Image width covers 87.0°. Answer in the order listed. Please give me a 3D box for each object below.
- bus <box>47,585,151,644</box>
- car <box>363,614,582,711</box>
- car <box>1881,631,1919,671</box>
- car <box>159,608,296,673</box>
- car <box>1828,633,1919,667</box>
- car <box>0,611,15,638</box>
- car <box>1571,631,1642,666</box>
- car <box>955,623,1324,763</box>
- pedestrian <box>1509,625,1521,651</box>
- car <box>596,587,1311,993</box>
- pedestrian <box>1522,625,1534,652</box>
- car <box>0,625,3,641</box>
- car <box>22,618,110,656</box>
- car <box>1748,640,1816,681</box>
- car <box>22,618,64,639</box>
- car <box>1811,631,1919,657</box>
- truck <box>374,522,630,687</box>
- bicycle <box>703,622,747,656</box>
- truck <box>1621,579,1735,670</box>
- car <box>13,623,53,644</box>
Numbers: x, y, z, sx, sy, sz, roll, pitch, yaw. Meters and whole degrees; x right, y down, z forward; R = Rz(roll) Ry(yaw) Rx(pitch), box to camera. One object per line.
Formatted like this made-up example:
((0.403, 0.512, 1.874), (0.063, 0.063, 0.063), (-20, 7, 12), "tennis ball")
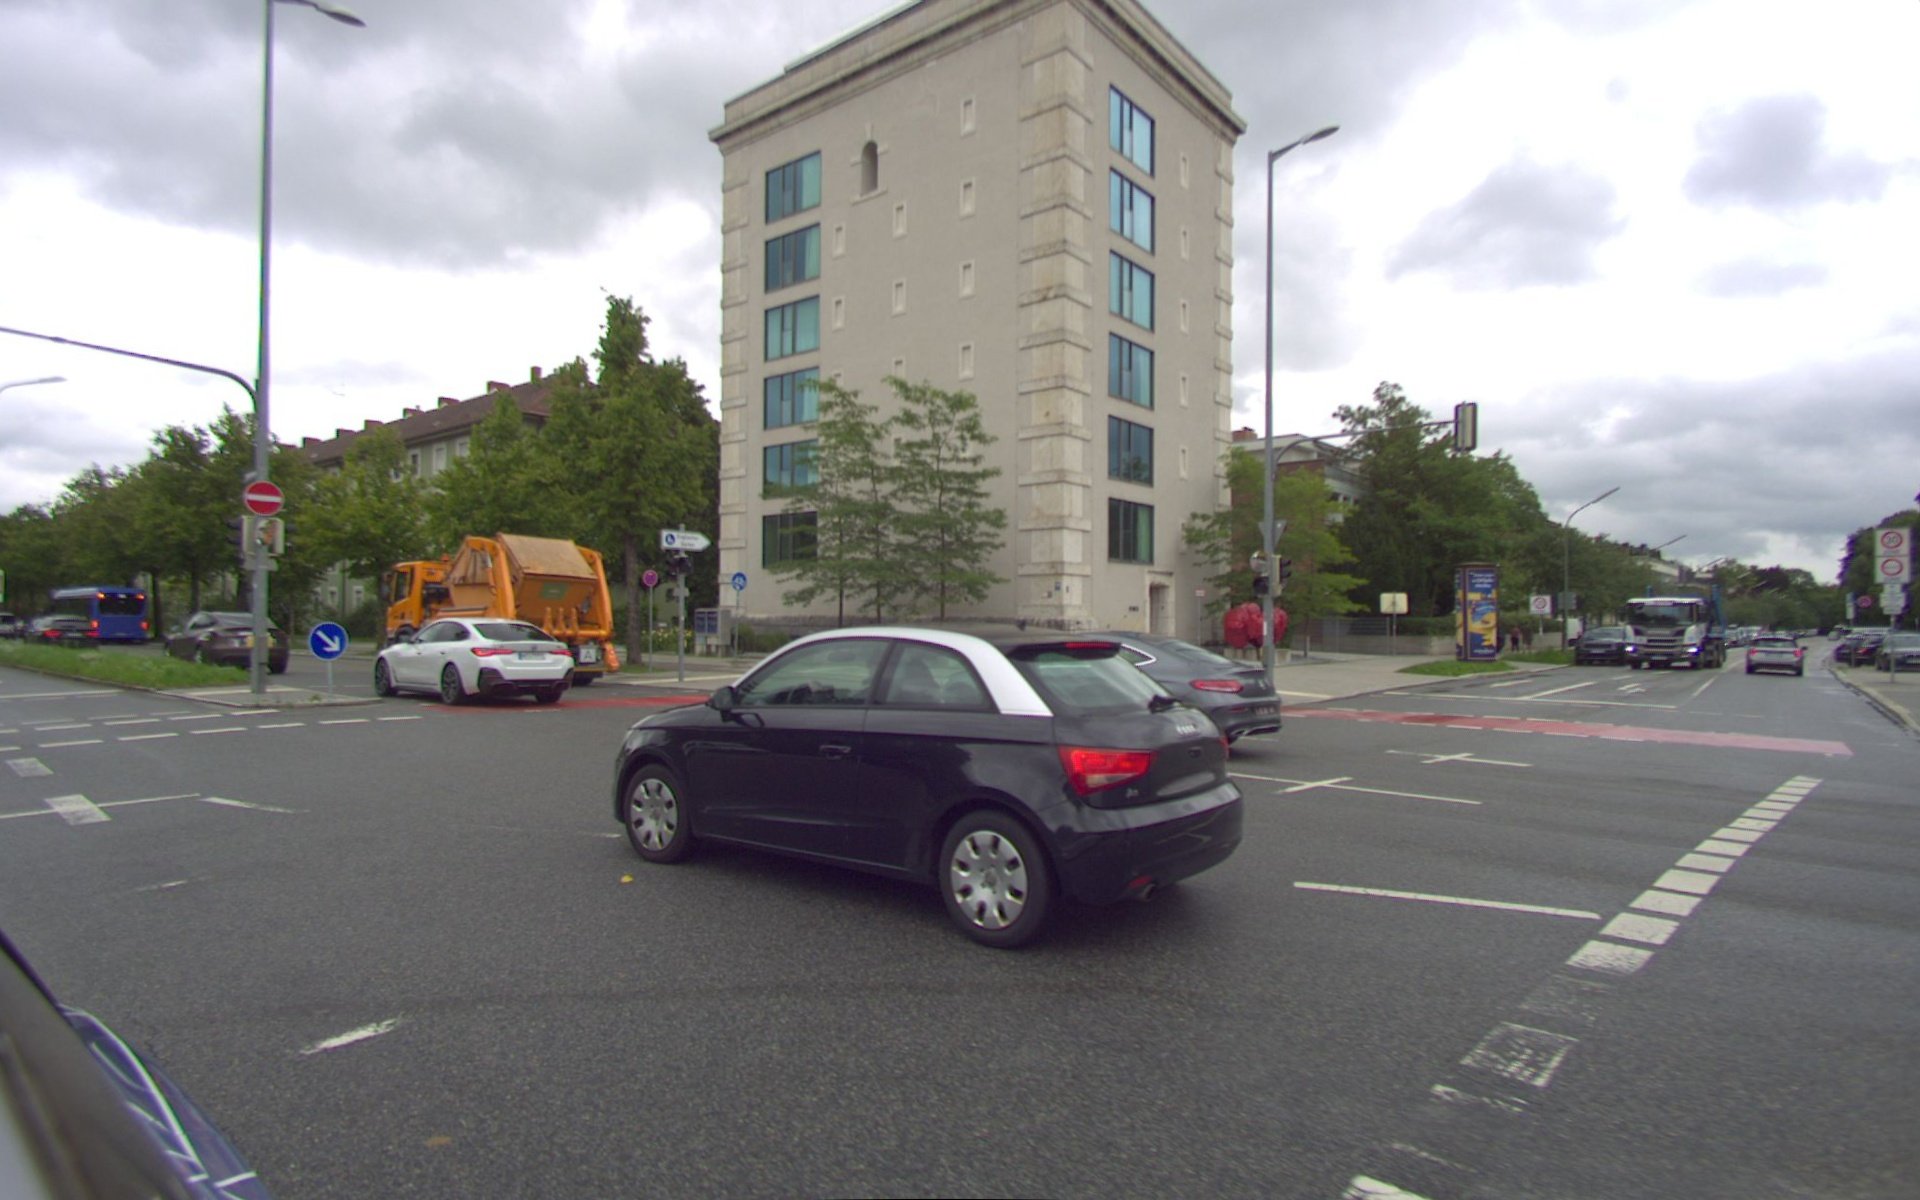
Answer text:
((-53.508, 0.970, 62.743), (12.036, 3.369, 2.718), (-1, -3, 39), "bus")
((-8.689, 1.008, 17.841), (4.739, 1.498, 1.710), (-1, -2, 40), "car")
((36.823, 1.923, 38.965), (1.843, 1.427, 4.158), (-1, -2, 40), "car")
((-19.630, 1.073, 27.038), (4.747, 1.553, 1.843), (-1, -5, 41), "car")
((41.284, 2.210, 44.636), (4.198, 1.427, 1.907), (-1, -1, 30), "car")
((-65.566, 1.628, 68.373), (4.425, 1.825, 1.762), (-1, -4, 39), "car")
((29.373, 2.161, 45.930), (1.927, 1.427, 4.155), (-1, -2, 44), "car")
((2.081, 1.029, 12.458), (4.214, 1.427, 1.705), (-1, -3, 42), "car")
((30.473, 2.102, 55.579), (0.543, 1.425, 0.597), (-1, -2, 30), "pedestrian")
((-0.233, 0.735, 5.575), (3.777, 1.498, 1.623), (-1, -2, 39), "car")
((30.947, 2.090, 55.139), (0.543, 1.425, 0.597), (-1, -2, 30), "pedestrian")
((-88.706, 3.003, 92.130), (3.907, 1.473, 1.833), (-1, 0, 40), "car")
((-36.624, 1.505, 41.412), (4.894, 1.473, 1.907), (-1, -3, 40), "car")
((31.583, 2.326, 38.871), (1.931, 1.473, 4.306), (-1, -3, 40), "car")
((-68.168, 2.108, 75.199), (3.907, 1.473, 1.833), (-1, 0, 40), "car")
((51.351, 2.473, 57.454), (4.180, 1.427, 1.834), (0, -1, 18), "car")
((-11.105, 0.154, 24.192), (7.261, 3.382, 2.752), (-1, -2, 40), "truck")
((-8.306, 1.368, 35.775), (1.825, 1.190, 0.539), (-1, -1, 40), "bicycle")
((30.300, 1.008, 42.558), (2.773, 3.515, 7.711), (-1, -2, 44), "truck")
((-71.709, 2.577, 78.249), (3.907, 1.473, 1.833), (-1, 0, 40), "car")
